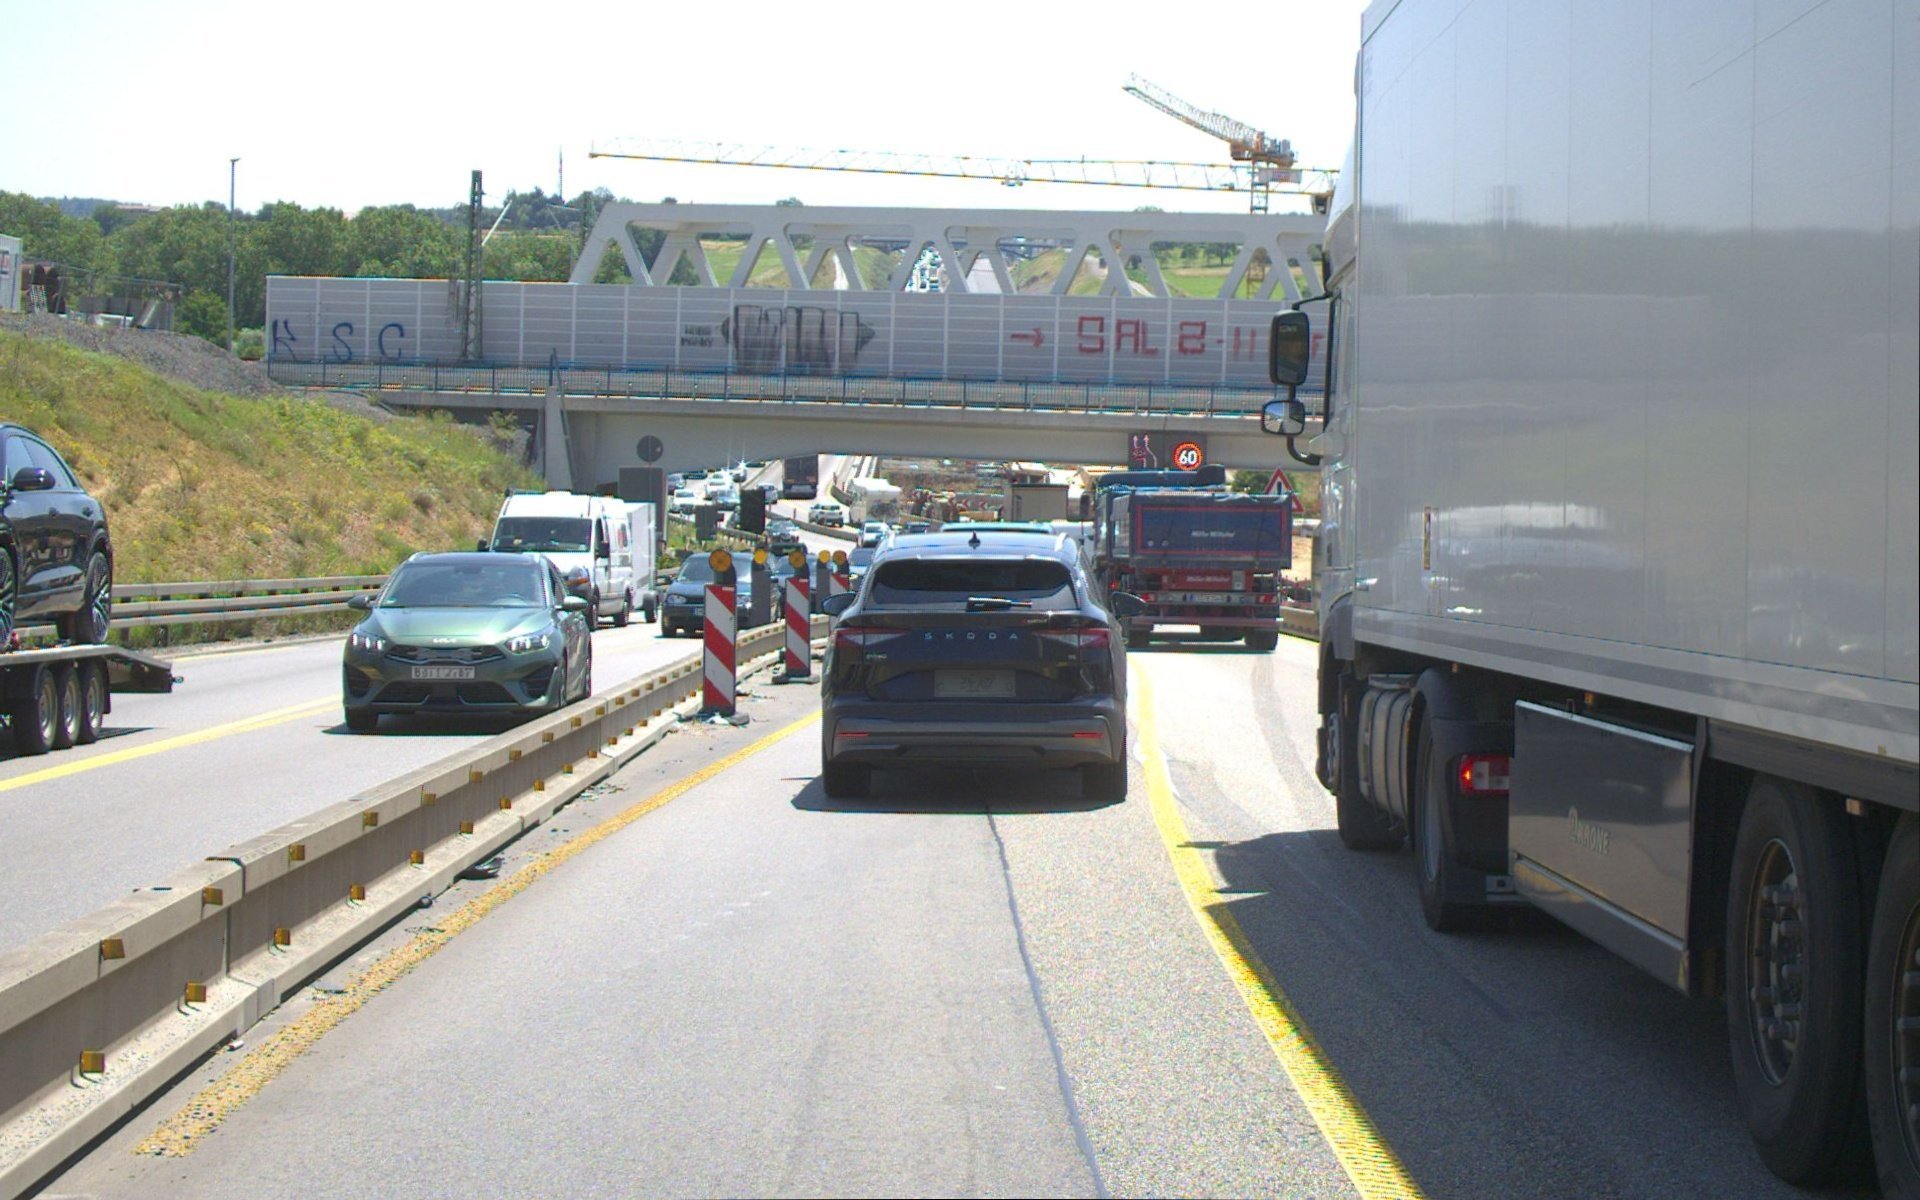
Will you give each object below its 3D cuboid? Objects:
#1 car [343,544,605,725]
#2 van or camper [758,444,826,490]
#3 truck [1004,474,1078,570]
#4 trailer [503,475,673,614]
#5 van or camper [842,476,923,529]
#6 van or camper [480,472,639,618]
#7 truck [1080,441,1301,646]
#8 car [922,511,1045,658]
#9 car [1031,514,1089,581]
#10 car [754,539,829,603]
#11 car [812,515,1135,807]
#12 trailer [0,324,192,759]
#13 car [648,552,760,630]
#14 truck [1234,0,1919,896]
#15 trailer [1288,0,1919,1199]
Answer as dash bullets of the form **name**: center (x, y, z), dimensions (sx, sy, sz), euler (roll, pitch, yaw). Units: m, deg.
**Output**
- **car**: center (-4.072, 0.243, 29.336), dimensions (1.666, 1.423, 4.000), euler (0, 1, 0)
- **van or camper**: center (-12.900, -10.145, 263.819), dimensions (3.942, 3.408, 8.409), euler (1, 2, -11)
- **truck**: center (3.737, -3.602, 160.140), dimensions (3.176, 4.303, 9.258), euler (1, 1, 0)
- **trailer**: center (-7.069, -1.057, 66.313), dimensions (2.216, 2.472, 8.527), euler (1, 1, 1)
- **van or camper**: center (-5.213, -6.531, 229.429), dimensions (3.942, 3.408, 8.409), euler (1, 2, -11)
- **van or camper**: center (-7.126, -0.977, 61.661), dimensions (2.216, 2.472, 4.751), euler (1, 1, 1)
- **truck**: center (3.772, -1.001, 59.372), dimensions (2.814, 3.124, 12.838), euler (1, 1, -1)
- **car**: center (0.333, -0.238, 44.882), dimensions (1.475, 1.789, 3.297), euler (2, 1, 1)
- **car**: center (3.478, -1.833, 120.040), dimensions (1.661, 2.262, 3.797), euler (2, 1, -3)
- **car**: center (-3.797, -0.664, 77.717), dimensions (1.501, 1.415, 3.176), euler (1, 1, 1)
- **car**: center (0.038, 0.322, 21.162), dimensions (1.800, 1.615, 3.298), euler (1, 1, -1)
- **trailer**: center (-7.477, -0.387, 22.306), dimensions (2.268, 2.872, 13.044), euler (1, 1, -1)
- **car**: center (-4.316, -0.169, 58.313), dimensions (1.610, 1.271, 3.167), euler (1, 1, 1)
- **truck**: center (3.006, -0.789, 17.366), dimensions (2.776, 4.044, 4.905), euler (1, 1, 0)
- **trailer**: center (3.035, -0.653, 9.335), dimensions (2.801, 4.044, 14.118), euler (1, 1, 0)
